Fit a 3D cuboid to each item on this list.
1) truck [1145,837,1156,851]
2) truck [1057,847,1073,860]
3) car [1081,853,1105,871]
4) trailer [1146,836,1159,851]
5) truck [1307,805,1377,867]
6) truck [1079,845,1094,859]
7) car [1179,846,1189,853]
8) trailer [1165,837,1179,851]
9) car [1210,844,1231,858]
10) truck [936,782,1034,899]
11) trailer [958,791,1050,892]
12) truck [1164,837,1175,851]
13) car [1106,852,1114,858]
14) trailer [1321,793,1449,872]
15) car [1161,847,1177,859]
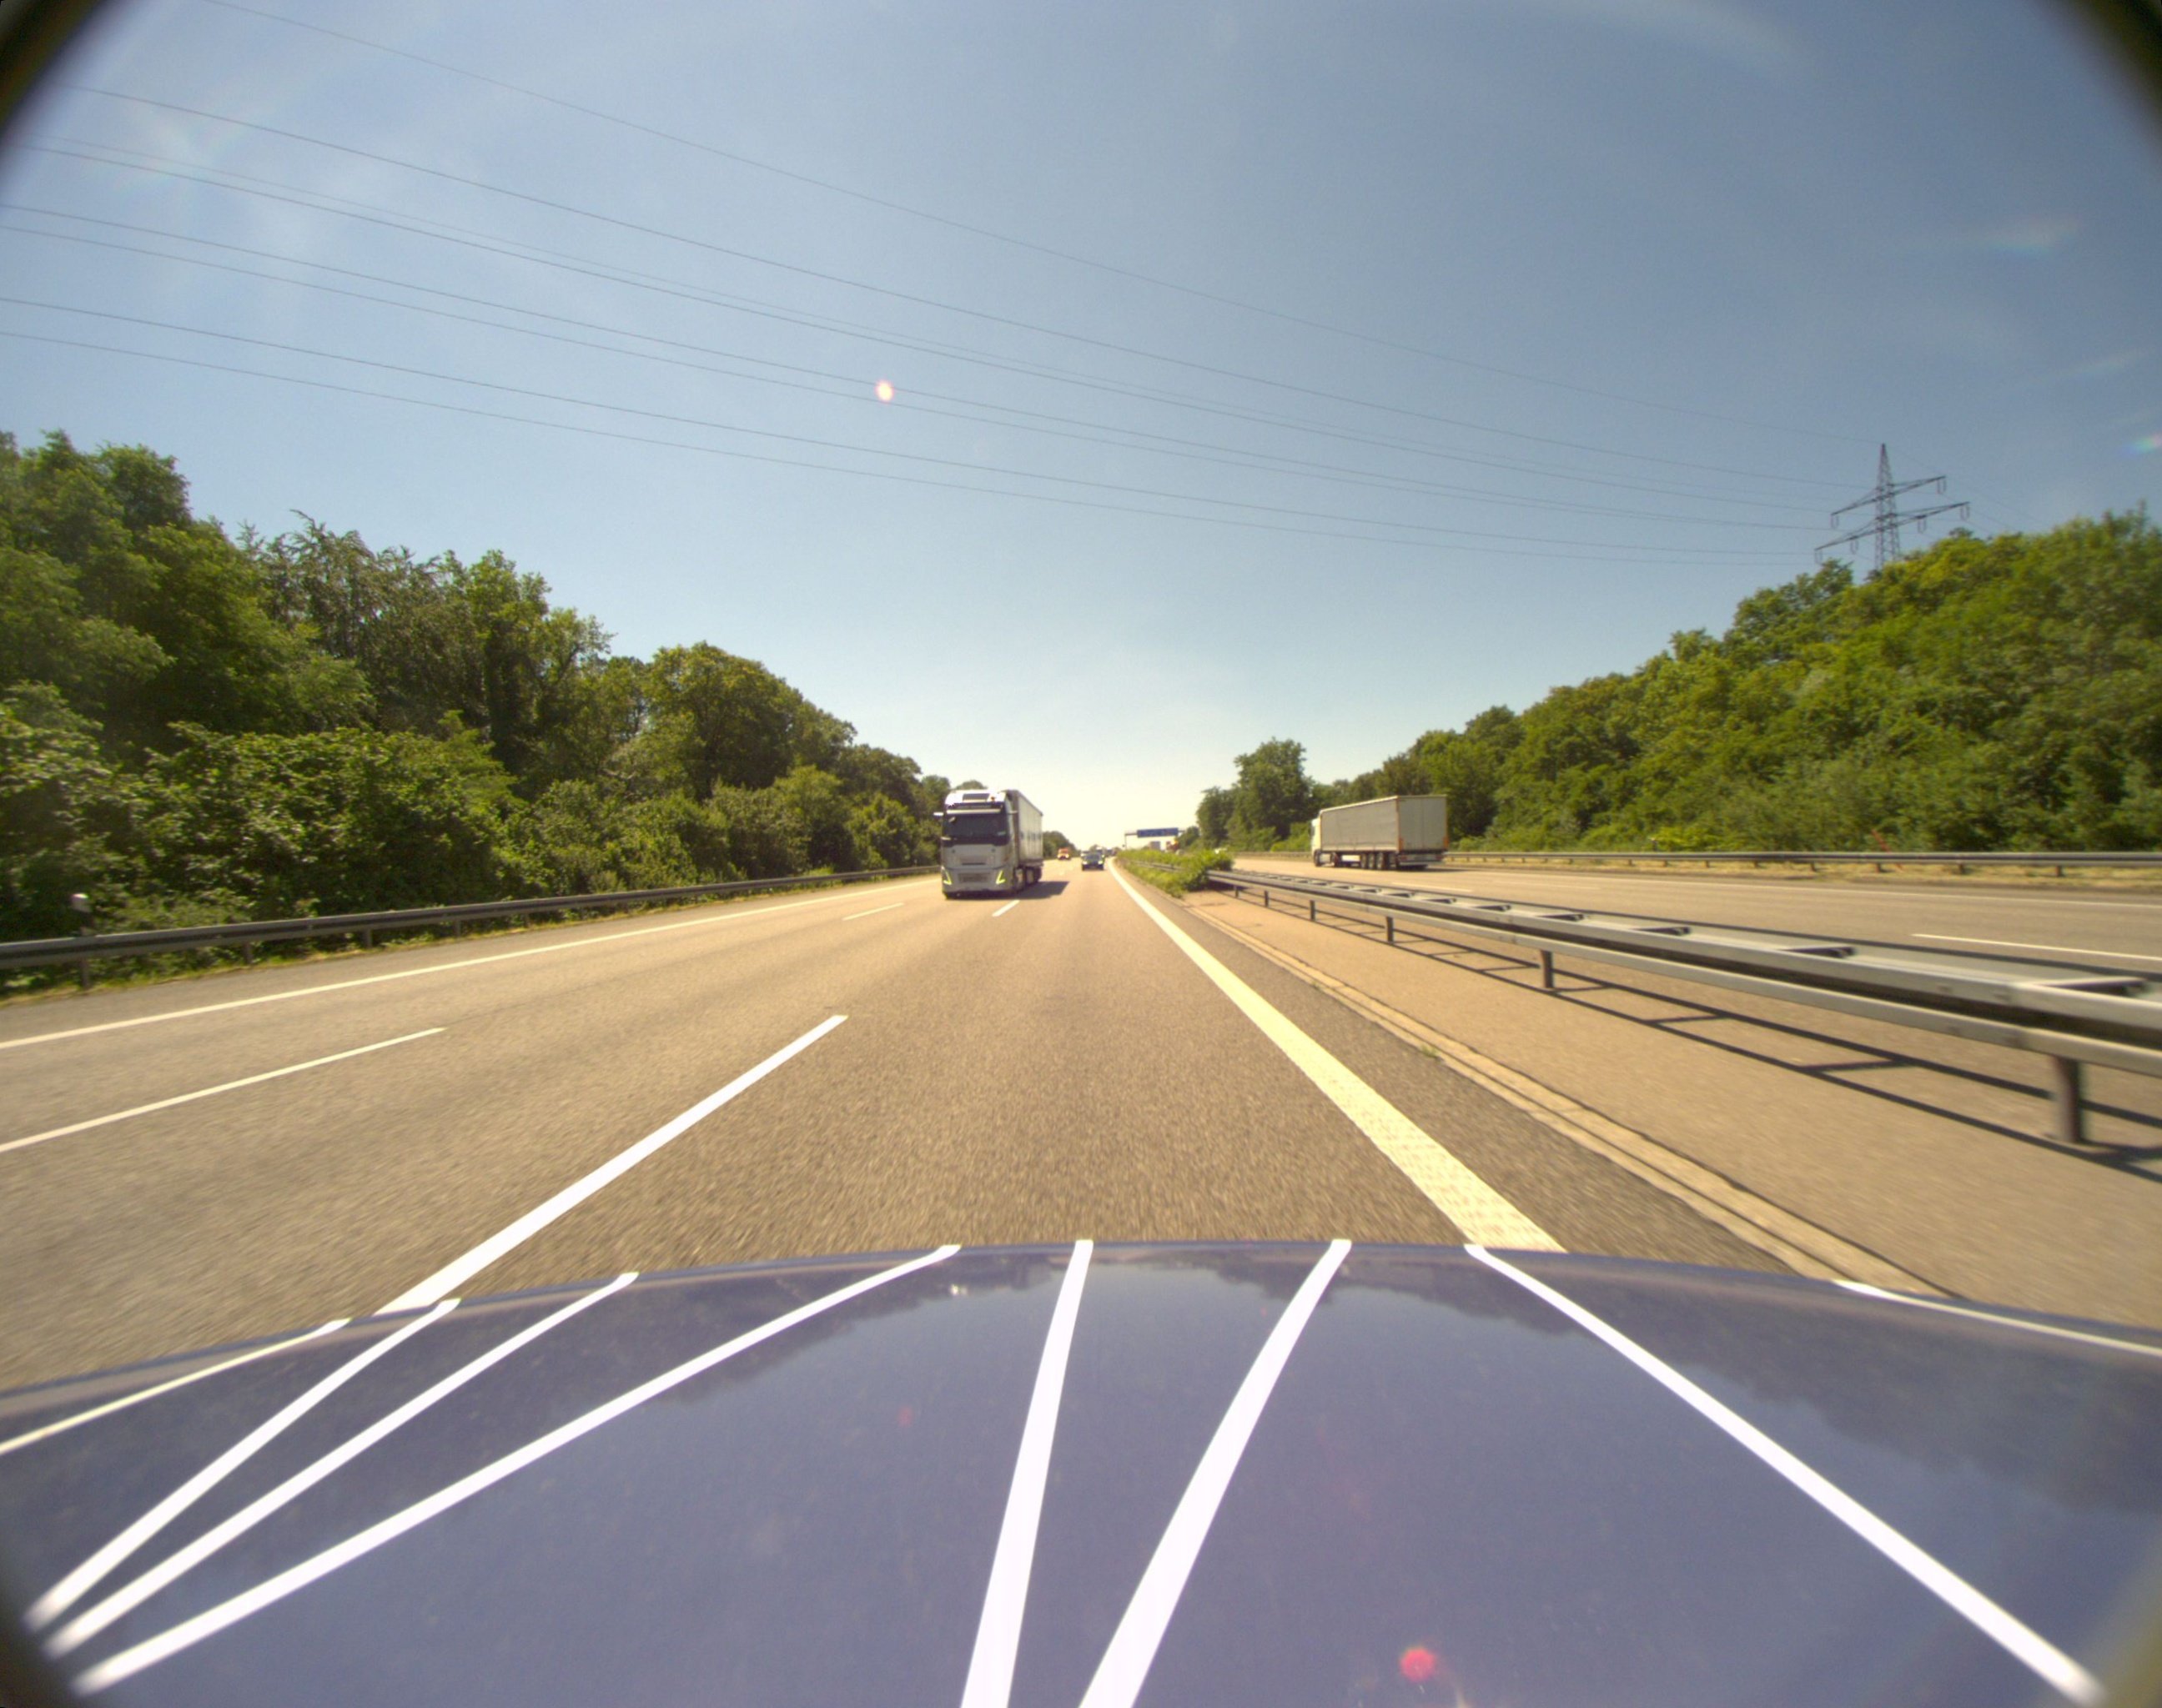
[{"bbox_3d":[19.782,-2.898,217.182,2.471,3.766,5.729,-2,1,1],"label":"truck"},{"bbox_3d":[-3.353,-0.149,159.103,2.436,2.426,10.011,-2,0,4],"label":"truck"},{"bbox_3d":[0.970,0.613,61.631,1.800,1.390,4.833,-2,0,1],"label":"car"},{"bbox_3d":[19.596,-2.887,209.941,2.471,3.913,14.400,-2,0,2],"label":"trailer"},{"bbox_3d":[18.040,-1.218,52.966,2.667,3.962,6.554,-2,1,1],"label":"truck"},{"bbox_3d":[1.266,-0.434,176.436,2.858,3.163,10.713,-1,0,3],"label":"truck"},{"bbox_3d":[24.076,-1.020,177.398,1.725,1.471,4.000,-2,0,2],"label":"car"},{"bbox_3d":[23.453,-2.582,196.683,2.377,3.575,14.221,-2,0,2],"label":"trailer"},{"bbox_3d":[15.132,-0.285,82.634,1.669,1.445,4.124,-2,0,2],"label":"car"},{"bbox_3d":[-3.501,-0.492,29.391,2.729,3.952,6.501,-2,1,1],"label":"truck"},{"bbox_3d":[-3.344,-0.547,37.209,2.747,3.952,13.653,-2,0,1],"label":"trailer"},{"bbox_3d":[23.678,-2.633,203.680,2.362,3.581,4.164,-2,1,2],"label":"truck"},{"bbox_3d":[7.507,0.220,199.458,1.879,1.630,3.999,-2,0,-1],"label":"car"},{"bbox_3d":[17.826,-1.159,46.009,2.677,3.943,13.664,-2,0,2],"label":"trailer"},{"bbox_3d":[11.534,-0.136,99.785,1.669,1.445,4.124,-2,0,2],"label":"car"}]
